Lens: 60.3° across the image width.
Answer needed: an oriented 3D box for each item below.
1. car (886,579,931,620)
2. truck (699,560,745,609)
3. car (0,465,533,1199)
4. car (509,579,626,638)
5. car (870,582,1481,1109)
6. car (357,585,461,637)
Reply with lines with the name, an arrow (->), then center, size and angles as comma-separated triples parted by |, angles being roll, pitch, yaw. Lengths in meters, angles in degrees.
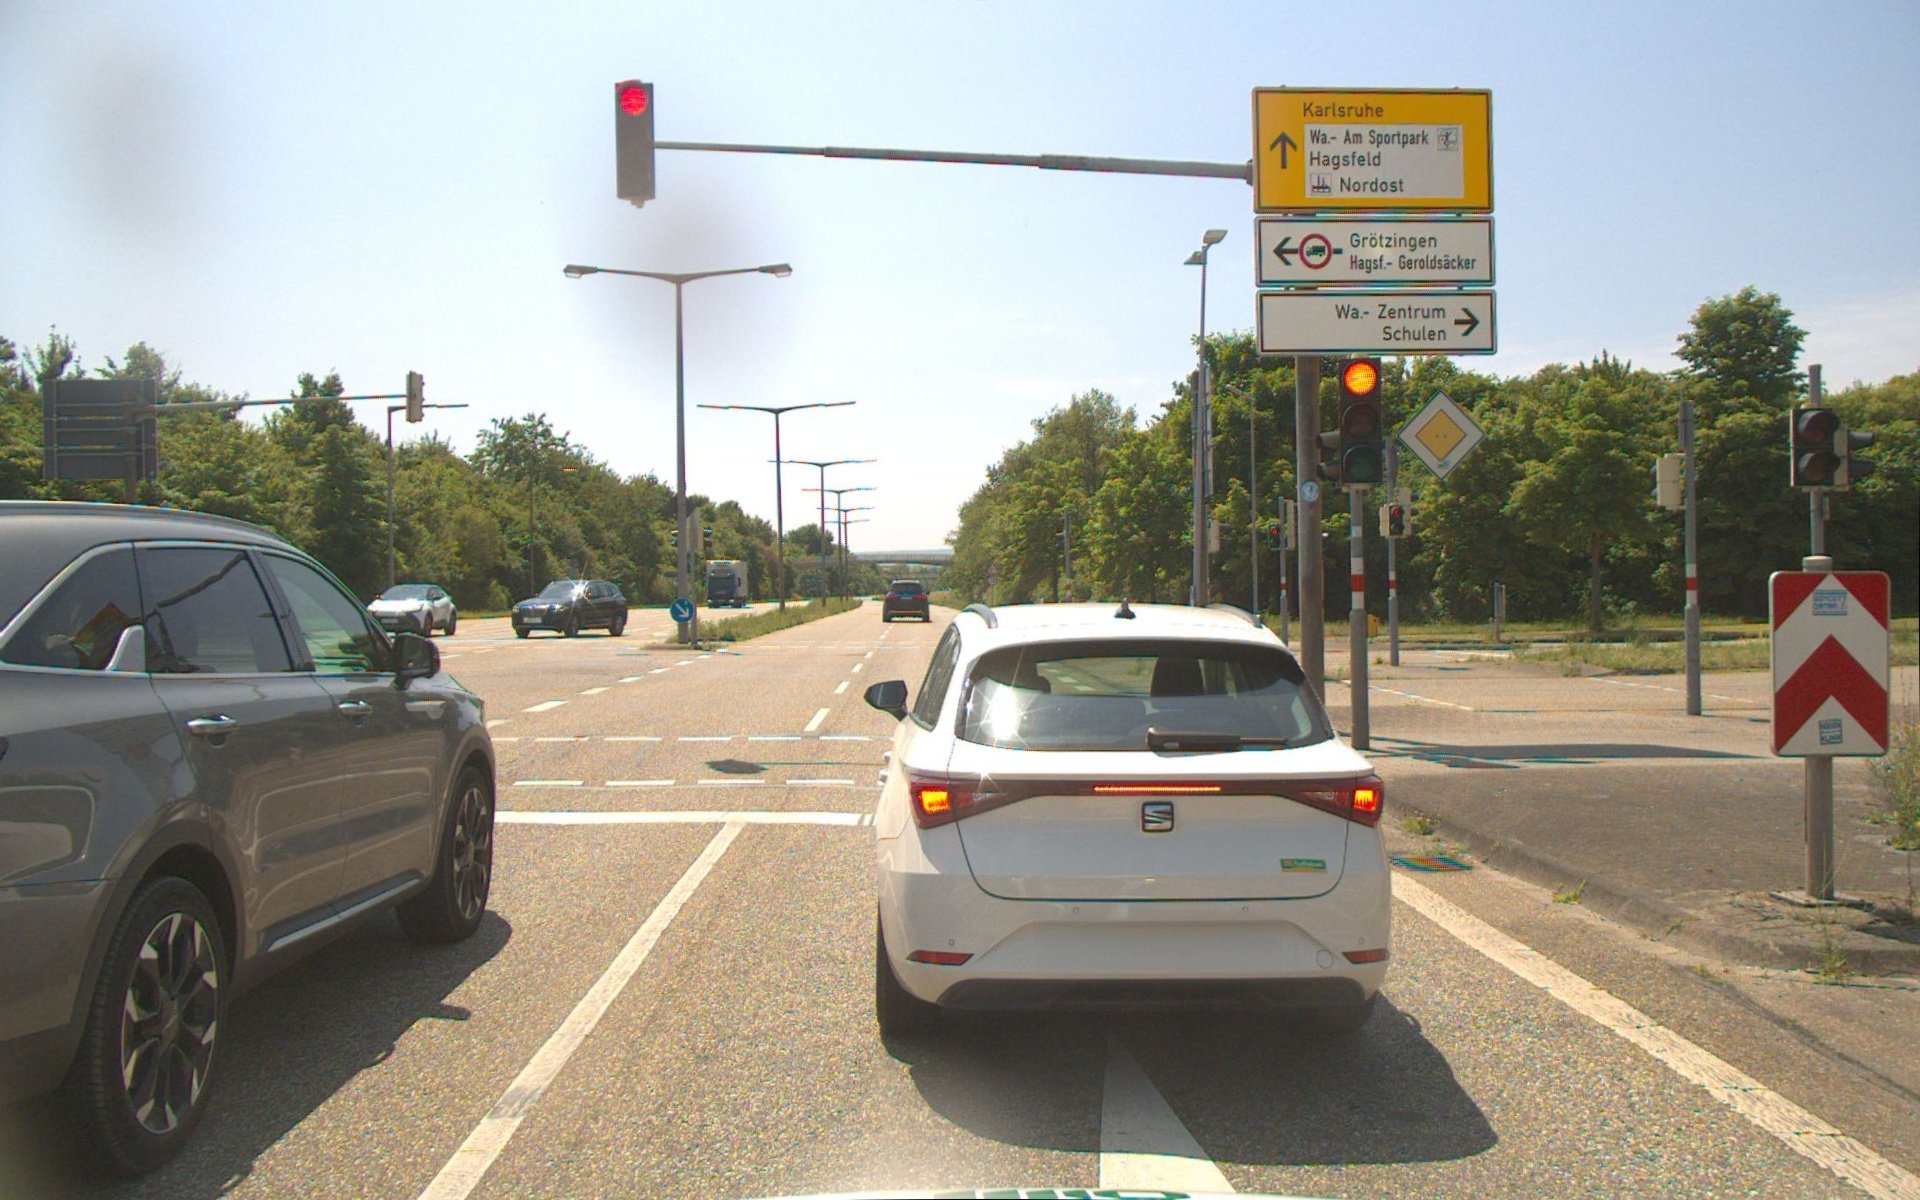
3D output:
car -> -2.270, -0.040, 73.650 | 1.816, 1.738, 4.001 | -1, 1, 1
truck -> -18.383, -1.208, 128.212 | 2.633, 3.633, 7.266 | 0, 1, -1
car -> -2.870, 0.571, 5.452 | 1.767, 1.691, 4.643 | -1, 0, -1
car -> -11.804, 0.222, 50.018 | 1.670, 1.692, 4.226 | -1, 1, 14
car -> 0.583, 0.699, 6.487 | 1.699, 1.453, 3.693 | 1, 0, -1
car -> -16.635, 0.298, 50.171 | 1.785, 1.481, 4.168 | -1, 1, -1
